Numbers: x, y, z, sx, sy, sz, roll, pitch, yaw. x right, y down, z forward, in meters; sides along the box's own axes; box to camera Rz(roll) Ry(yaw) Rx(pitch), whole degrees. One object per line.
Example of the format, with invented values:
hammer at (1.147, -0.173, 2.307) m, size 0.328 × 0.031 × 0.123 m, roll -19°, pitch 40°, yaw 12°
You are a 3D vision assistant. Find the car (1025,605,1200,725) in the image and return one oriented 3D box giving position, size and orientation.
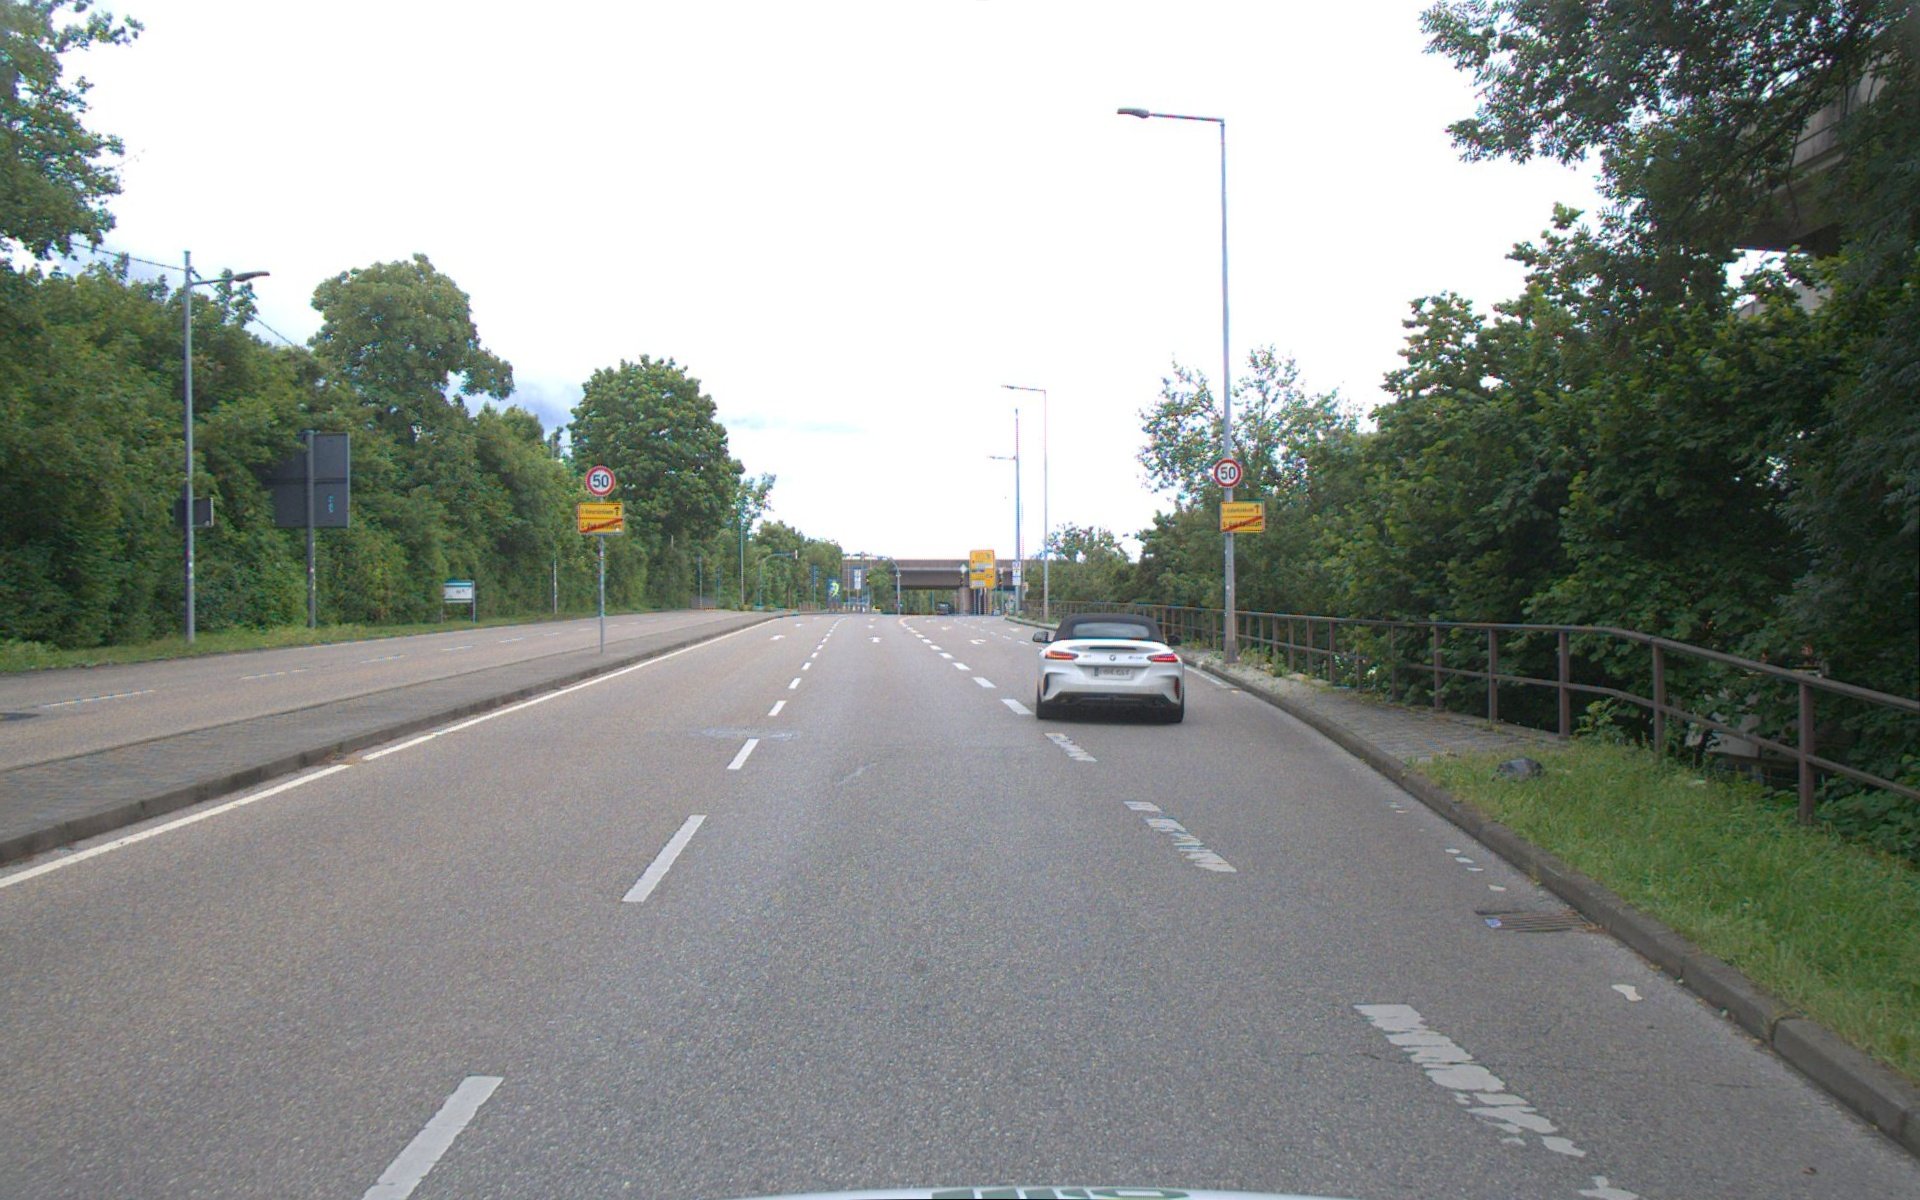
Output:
car at (1.892, 0.780, 21.597) m, size 1.837 × 1.332 × 3.872 m, roll 2°, pitch 0°, yaw -1°
